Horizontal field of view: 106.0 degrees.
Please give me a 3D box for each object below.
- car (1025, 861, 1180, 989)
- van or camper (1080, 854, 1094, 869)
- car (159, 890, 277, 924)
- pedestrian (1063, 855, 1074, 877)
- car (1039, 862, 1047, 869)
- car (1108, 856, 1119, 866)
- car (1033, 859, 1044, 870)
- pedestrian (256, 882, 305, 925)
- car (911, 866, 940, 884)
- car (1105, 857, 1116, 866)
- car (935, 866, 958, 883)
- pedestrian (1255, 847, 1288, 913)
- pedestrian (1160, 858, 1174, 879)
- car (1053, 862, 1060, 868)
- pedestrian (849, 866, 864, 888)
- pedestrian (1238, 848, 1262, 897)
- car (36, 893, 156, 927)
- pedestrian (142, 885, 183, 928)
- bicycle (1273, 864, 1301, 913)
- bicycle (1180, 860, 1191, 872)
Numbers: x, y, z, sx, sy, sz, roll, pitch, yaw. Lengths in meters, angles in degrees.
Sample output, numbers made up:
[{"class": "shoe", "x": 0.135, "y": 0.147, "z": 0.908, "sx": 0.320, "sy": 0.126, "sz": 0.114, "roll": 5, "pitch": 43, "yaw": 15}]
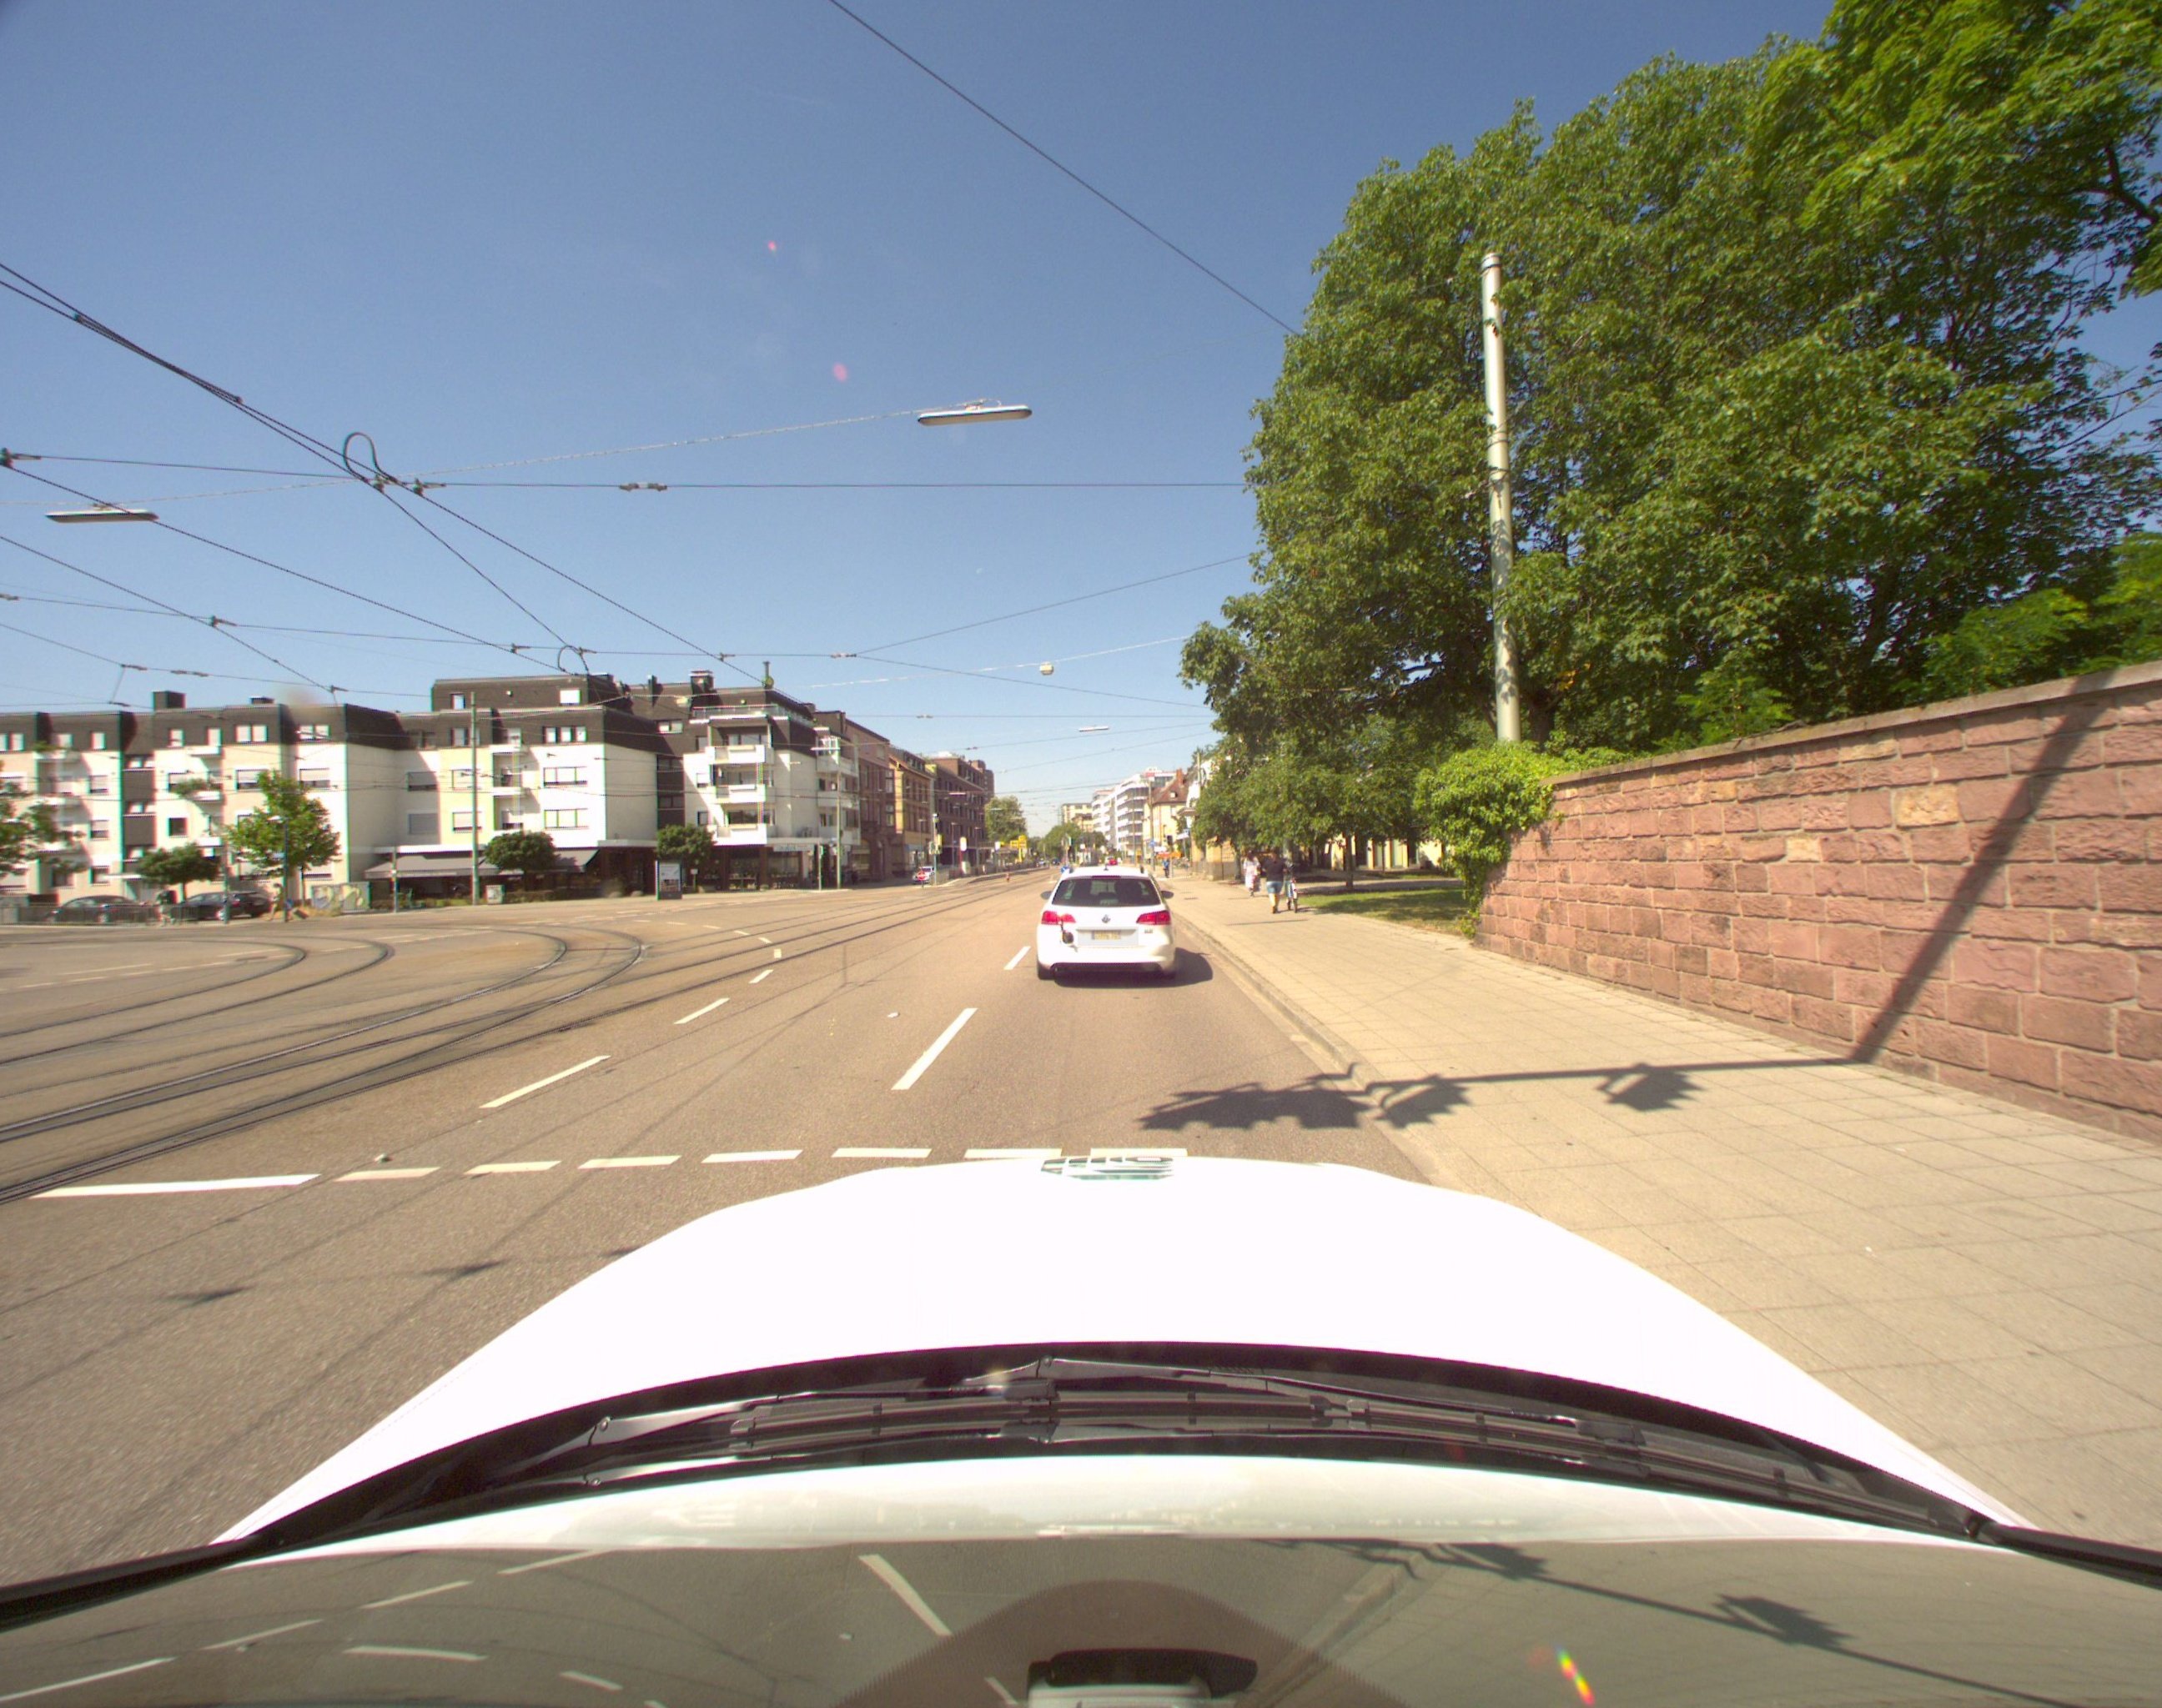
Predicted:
[{"class": "car", "x": 0.342, "y": 0.840, "z": 11.386, "sx": 1.746, "sy": 1.418, "sz": 3.855, "roll": -2, "pitch": 0, "yaw": 3}, {"class": "van or camper", "x": 1.401, "y": 1.708, "z": 187.026, "sx": 2.933, "sy": 3.180, "sz": 6.614, "roll": -2, "pitch": 0, "yaw": 1}, {"class": "car", "x": -44.635, "y": 2.706, "z": 42.194, "sx": 4.157, "sy": 1.500, "sz": 1.829, "roll": -2, "pitch": -1, "yaw": 1}, {"class": "pedestrian", "x": -1.079, "y": 1.036, "z": 68.606, "sx": 0.823, "sy": 1.809, "sz": 0.834, "roll": -2, "pitch": -1, "yaw": 3}, {"class": "car", "x": -9.526, "y": 2.839, "z": 202.728, "sx": 1.661, "sy": 1.466, "sz": 3.775, "roll": -2, "pitch": 0, "yaw": 2}, {"class": "car", "x": 7.201, "y": 1.601, "z": 179.992, "sx": 1.988, "sy": 2.013, "sz": 3.997, "roll": -2, "pitch": 0, "yaw": -2}, {"class": "car", "x": -8.453, "y": 2.038, "z": 162.769, "sx": 1.989, "sy": 2.014, "sz": 3.996, "roll": -3, "pitch": -1, "yaw": -3}, {"class": "pedestrian", "x": -36.182, "y": 2.206, "z": 36.851, "sx": 1.446, "sy": 1.836, "sz": 1.110, "roll": -2, "pitch": -1, "yaw": -40}, {"class": "car", "x": -13.040, "y": 1.755, "z": 68.612, "sx": 1.620, "sy": 1.431, "sz": 3.963, "roll": -1, "pitch": -1, "yaw": 1}, {"class": "car", "x": 6.691, "y": 1.673, "z": 185.428, "sx": 1.988, "sy": 2.013, "sz": 3.997, "roll": -2, "pitch": 0, "yaw": -2}, {"class": "car", "x": -12.589, "y": 1.947, "z": 76.308, "sx": 1.568, "sy": 1.459, "sz": 3.812, "roll": -2, "pitch": 0, "yaw": -1}, {"class": "pedestrian", "x": 4.640, "y": 0.630, "z": 19.851, "sx": 0.538, "sy": 1.549, "sz": 0.663, "roll": -4, "pitch": -1, "yaw": 2}, {"class": "pedestrian", "x": 6.307, "y": 1.040, "z": 59.705, "sx": 0.850, "sy": 1.510, "sz": 0.784, "roll": -2, "pitch": -1, "yaw": 11}, {"class": "car", "x": -6.183, "y": 2.798, "z": 205.459, "sx": 1.661, "sy": 1.466, "sz": 3.775, "roll": -2, "pitch": 0, "yaw": 2}, {"class": "pedestrian", "x": -17.778, "y": 1.810, "z": 64.380, "sx": 0.869, "sy": 1.647, "sz": 0.685, "roll": -3, "pitch": -1, "yaw": 36}, {"class": "pedestrian", "x": 5.930, "y": 0.635, "z": 28.537, "sx": 0.647, "sy": 1.682, "sz": 0.707, "roll": -2, "pitch": -1, "yaw": 1}, {"class": "car", "x": -50.901, "y": 2.892, "z": 42.128, "sx": 3.972, "sy": 1.500, "sz": 1.829, "roll": -2, "pitch": -1, "yaw": 1}, {"class": "pedestrian", "x": -39.001, "y": 2.214, "z": 34.597, "sx": 0.806, "sy": 1.760, "sz": 0.763, "roll": -2, "pitch": -1, "yaw": -1}, {"class": "bicycle", "x": 4.973, "y": 0.803, "z": 19.702, "sx": 0.532, "sy": 1.111, "sz": 1.812, "roll": -3, "pitch": -1, "yaw": 12}, {"class": "bicycle", "x": 9.957, "y": 1.124, "z": 77.711, "sx": 0.720, "sy": 1.139, "sz": 2.203, "roll": -2, "pitch": 0, "yaw": 15}]
